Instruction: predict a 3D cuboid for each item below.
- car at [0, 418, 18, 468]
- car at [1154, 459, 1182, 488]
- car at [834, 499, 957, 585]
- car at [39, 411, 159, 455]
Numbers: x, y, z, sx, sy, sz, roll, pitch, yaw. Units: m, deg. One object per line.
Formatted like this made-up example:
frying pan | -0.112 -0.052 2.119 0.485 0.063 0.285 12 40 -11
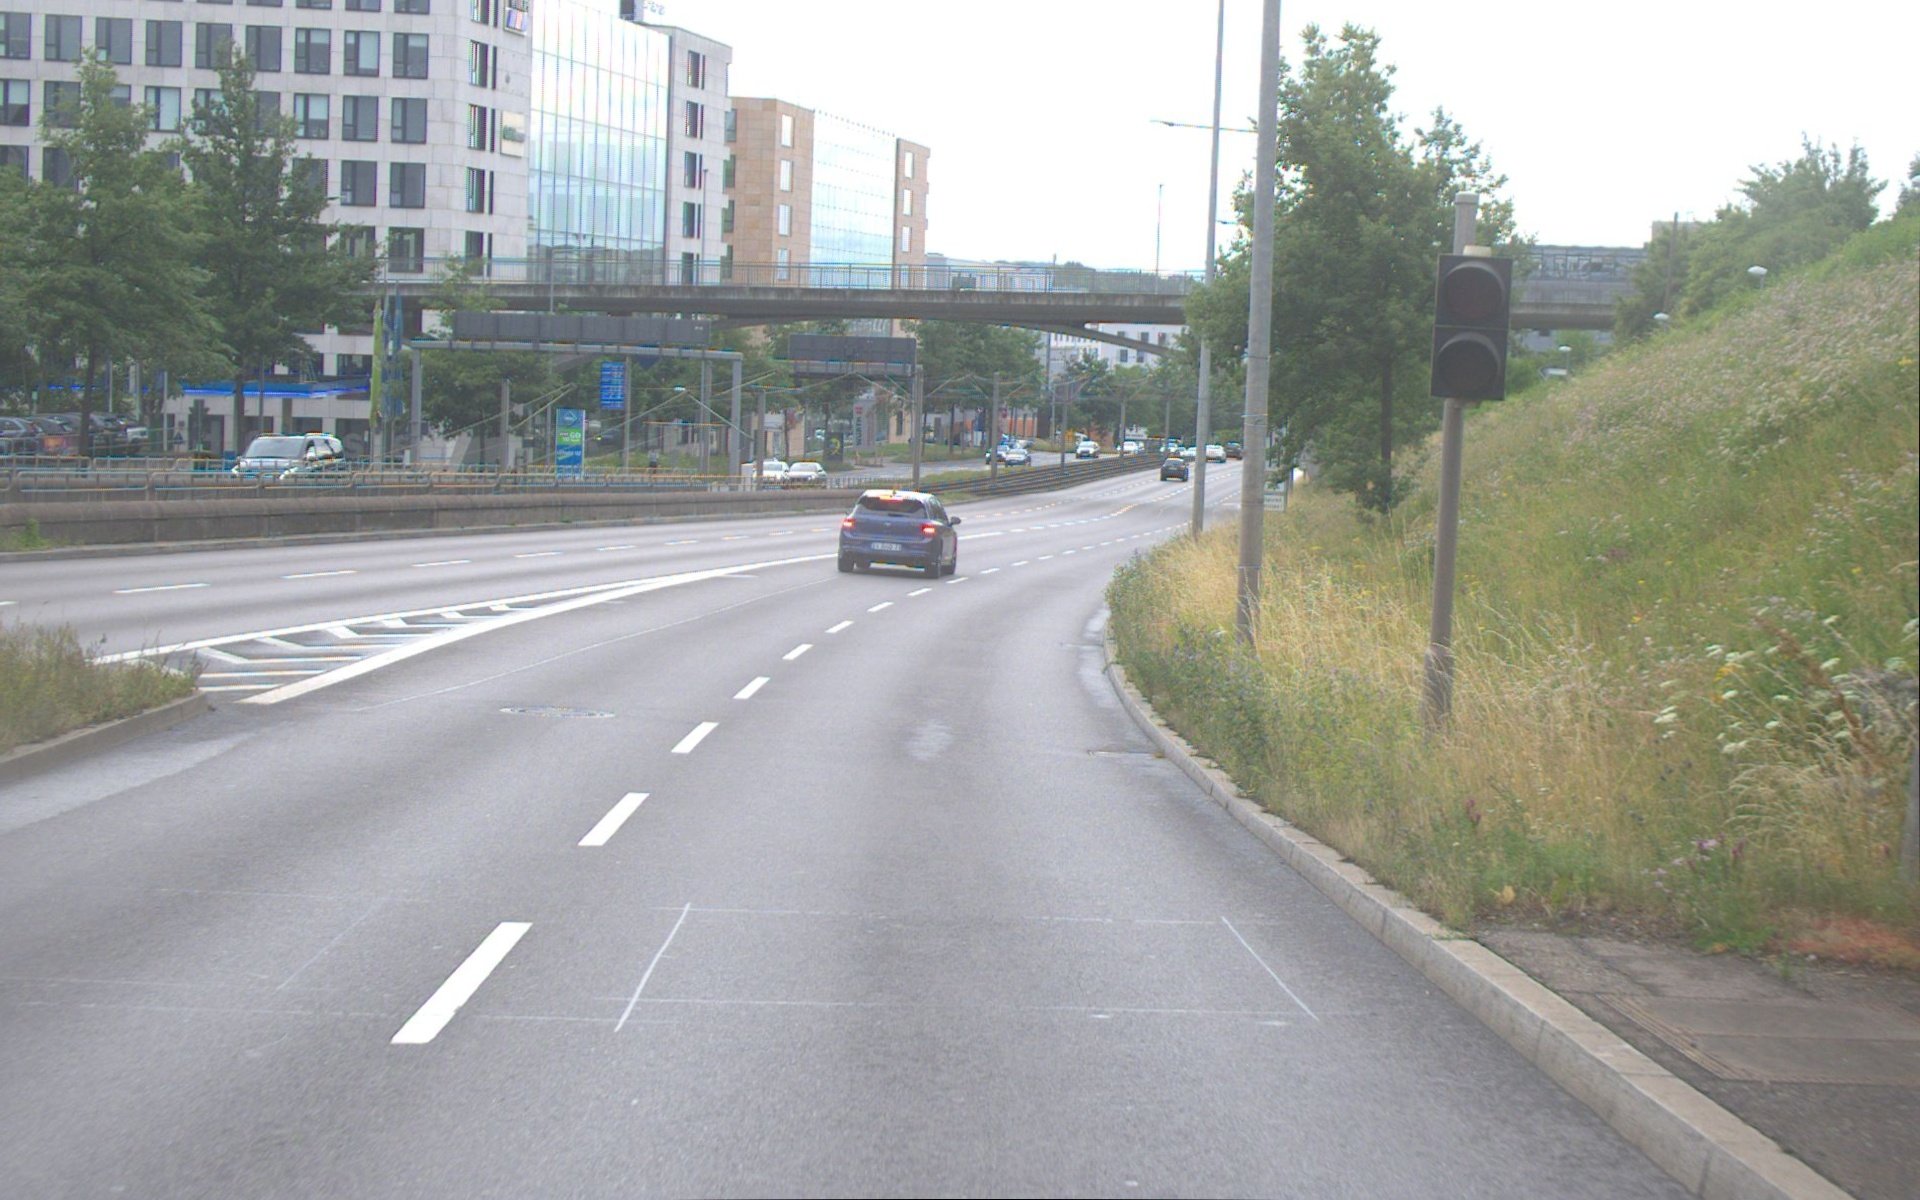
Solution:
car | -34.924 -5.572 119.258 3.986 1.645 2.001 3 3 -23
car | 14.644 -8.907 242.349 1.863 1.743 4.001 5 5 3
car | -1.096 -1.037 60.144 1.749 1.415 3.478 1 2 5
car | -32.953 -6.383 131.641 3.989 1.349 1.849 5 3 9
